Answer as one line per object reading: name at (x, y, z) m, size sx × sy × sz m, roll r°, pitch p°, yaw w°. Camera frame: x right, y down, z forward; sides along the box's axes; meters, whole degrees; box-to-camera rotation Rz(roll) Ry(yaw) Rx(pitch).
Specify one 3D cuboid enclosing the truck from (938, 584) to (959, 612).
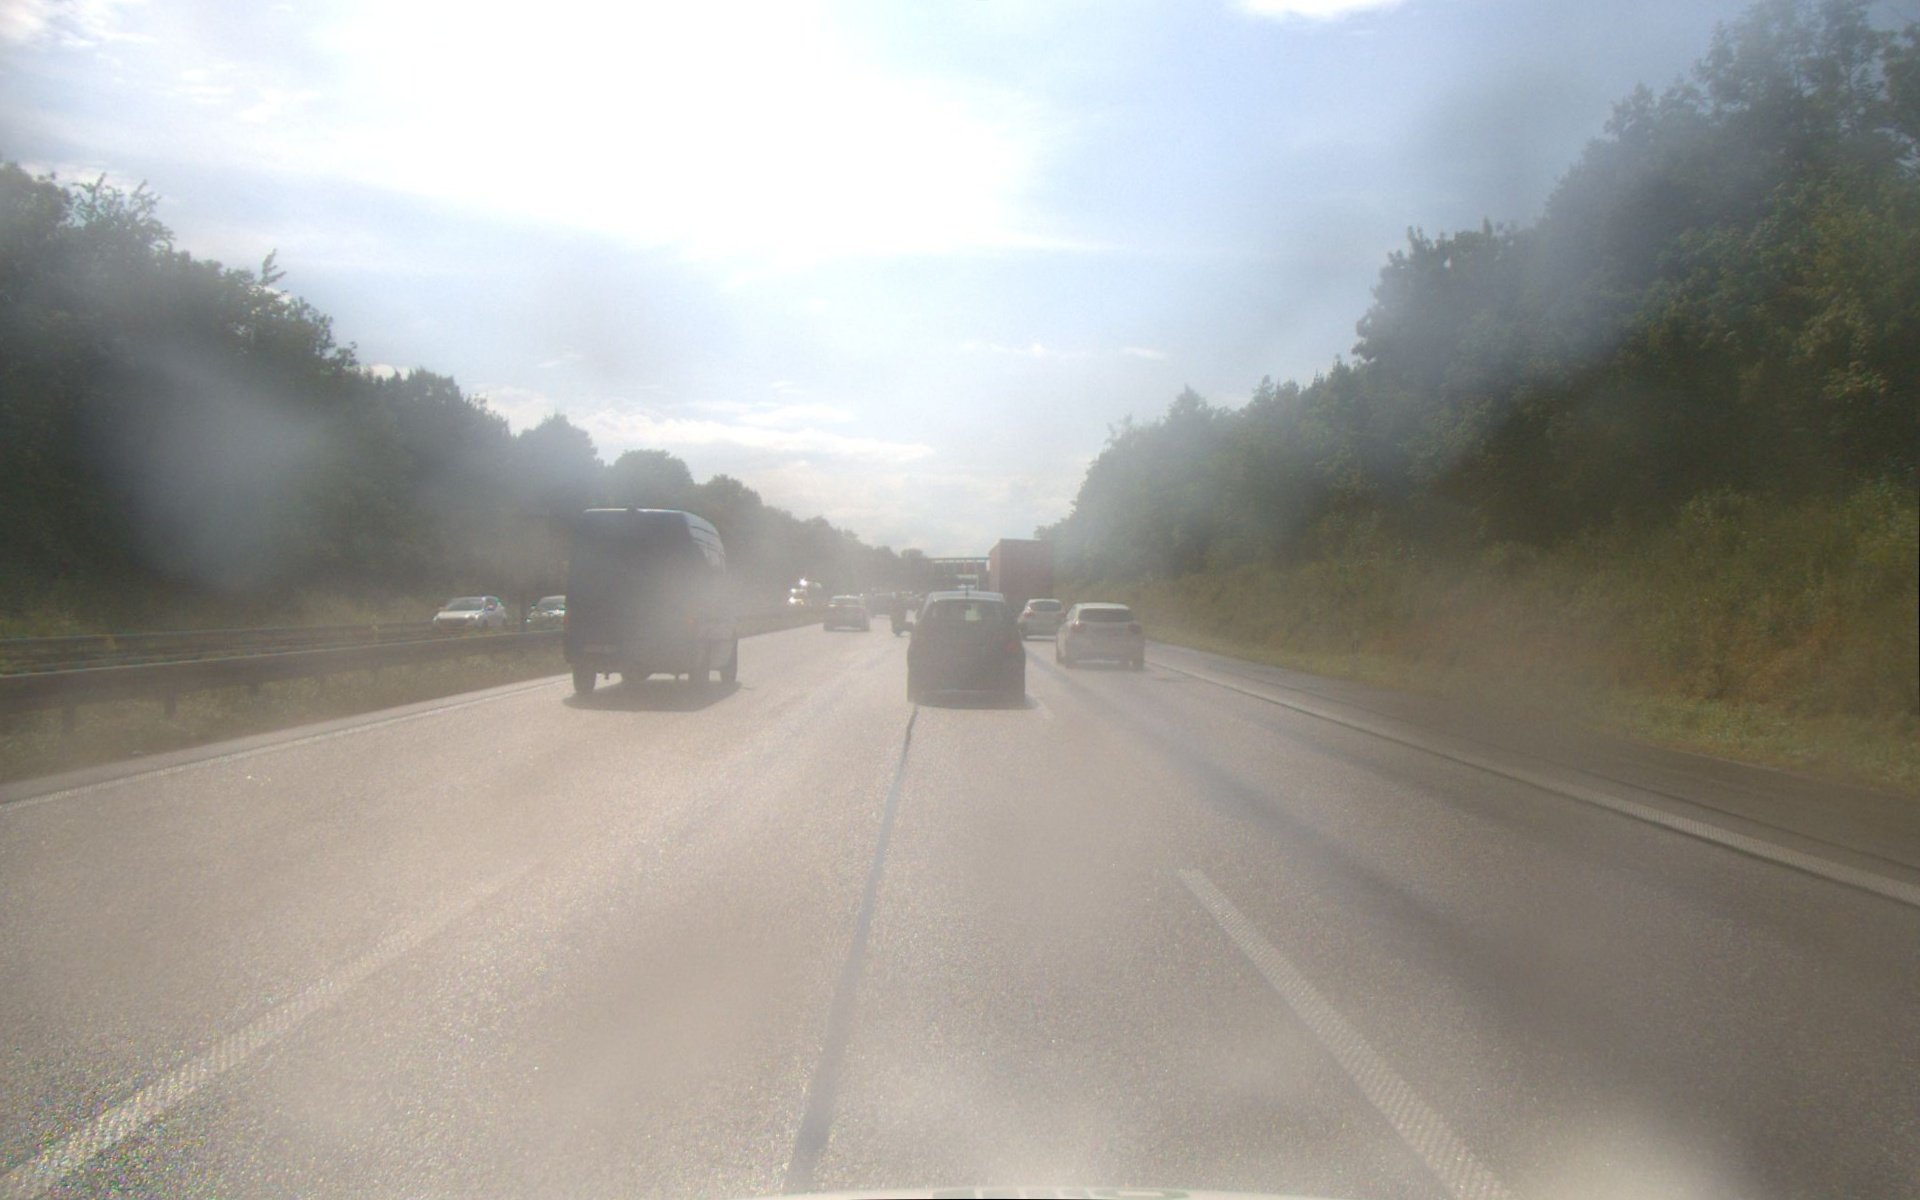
truck at (-1.247, -0.205, 175.782) m, size 2.147 × 2.926 × 4.848 m, roll 1°, pitch 0°, yaw -1°

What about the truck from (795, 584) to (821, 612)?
truck at (-21.826, -0.270, 237.563) m, size 2.929 × 3.898 × 6.864 m, roll 1°, pitch 0°, yaw 1°

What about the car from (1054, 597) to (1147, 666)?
car at (3.180, 0.691, 38.070) m, size 1.658 × 1.450 × 4.219 m, roll 1°, pitch 0°, yaw -1°

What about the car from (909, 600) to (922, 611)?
car at (-5.229, 0.628, 193.494) m, size 1.518 × 1.289 × 3.483 m, roll 1°, pitch 0°, yaw -2°

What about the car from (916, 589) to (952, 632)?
car at (-1.126, 0.444, 71.216) m, size 1.500 × 1.777 × 3.483 m, roll 1°, pitch 0°, yaw -1°

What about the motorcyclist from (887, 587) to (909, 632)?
motorcyclist at (-2.336, 0.368, 62.648) m, size 0.785 × 1.662 × 1.013 m, roll 1°, pitch 0°, yaw -1°

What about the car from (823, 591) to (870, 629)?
car at (-4.892, 0.440, 71.475) m, size 1.817 × 1.578 × 3.483 m, roll 1°, pitch 0°, yaw -1°

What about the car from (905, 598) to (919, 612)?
car at (-4.959, 0.518, 170.626) m, size 1.455 × 1.414 × 3.197 m, roll 1°, pitch 0°, yaw -1°

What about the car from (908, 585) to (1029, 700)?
car at (0.081, 0.603, 24.999) m, size 1.683 × 1.595 × 3.483 m, roll 1°, pitch 0°, yaw -1°

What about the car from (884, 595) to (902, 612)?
car at (-5.598, 0.285, 138.269) m, size 1.431 × 1.418 × 3.310 m, roll 1°, pitch 0°, yaw -1°

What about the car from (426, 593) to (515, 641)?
car at (-18.113, 0.620, 61.383) m, size 1.976 × 1.692 × 4.697 m, roll 1°, pitch 0°, yaw -1°

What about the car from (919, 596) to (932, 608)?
car at (-4.948, 0.293, 237.619) m, size 1.953 × 1.731 × 3.999 m, roll 0°, pitch 0°, yaw -1°

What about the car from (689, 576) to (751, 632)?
car at (-11.303, 0.187, 78.250) m, size 2.139 × 2.495 × 5.746 m, roll 1°, pitch 0°, yaw -1°

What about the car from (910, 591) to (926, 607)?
car at (-5.452, -0.097, 215.287) m, size 1.953 × 2.049 × 3.999 m, roll 0°, pitch 0°, yaw -1°

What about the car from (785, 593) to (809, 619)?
car at (-18.987, 0.711, 192.603) m, size 2.217 × 2.920 × 6.929 m, roll 1°, pitch 0°, yaw -1°

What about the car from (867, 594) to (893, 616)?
car at (-5.550, 0.339, 115.103) m, size 1.716 × 1.482 × 3.389 m, roll 1°, pitch 0°, yaw -1°

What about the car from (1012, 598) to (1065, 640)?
car at (2.868, 0.682, 60.923) m, size 1.646 × 1.467 × 3.904 m, roll 1°, pitch 0°, yaw -1°

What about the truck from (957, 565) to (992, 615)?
truck at (1.398, -0.880, 159.611) m, size 3.189 × 4.558 × 12.421 m, roll 1°, pitch 0°, yaw 0°

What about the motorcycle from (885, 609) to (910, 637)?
motorcycle at (-2.362, 0.860, 62.689) m, size 0.872 × 1.018 × 2.895 m, roll 1°, pitch 0°, yaw -1°

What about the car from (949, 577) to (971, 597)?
car at (-0.030, -0.972, 120.941) m, size 1.521 × 1.407 × 3.209 m, roll 1°, pitch 0°, yaw -1°

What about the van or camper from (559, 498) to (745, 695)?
van or camper at (-4.649, -0.036, 25.825) m, size 1.953 × 2.715 × 5.383 m, roll 1°, pitch 0°, yaw -1°

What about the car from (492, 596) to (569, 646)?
car at (-15.260, 0.737, 59.013) m, size 1.696 × 1.692 × 4.235 m, roll 1°, pitch 0°, yaw -1°

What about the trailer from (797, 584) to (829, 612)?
trailer at (-21.774, -0.244, 245.786) m, size 2.929 × 3.898 × 17.952 m, roll 1°, pitch 0°, yaw 1°

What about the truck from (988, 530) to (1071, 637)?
truck at (3.321, -0.720, 83.827) m, size 3.575 × 4.803 × 16.779 m, roll 1°, pitch 0°, yaw 0°
